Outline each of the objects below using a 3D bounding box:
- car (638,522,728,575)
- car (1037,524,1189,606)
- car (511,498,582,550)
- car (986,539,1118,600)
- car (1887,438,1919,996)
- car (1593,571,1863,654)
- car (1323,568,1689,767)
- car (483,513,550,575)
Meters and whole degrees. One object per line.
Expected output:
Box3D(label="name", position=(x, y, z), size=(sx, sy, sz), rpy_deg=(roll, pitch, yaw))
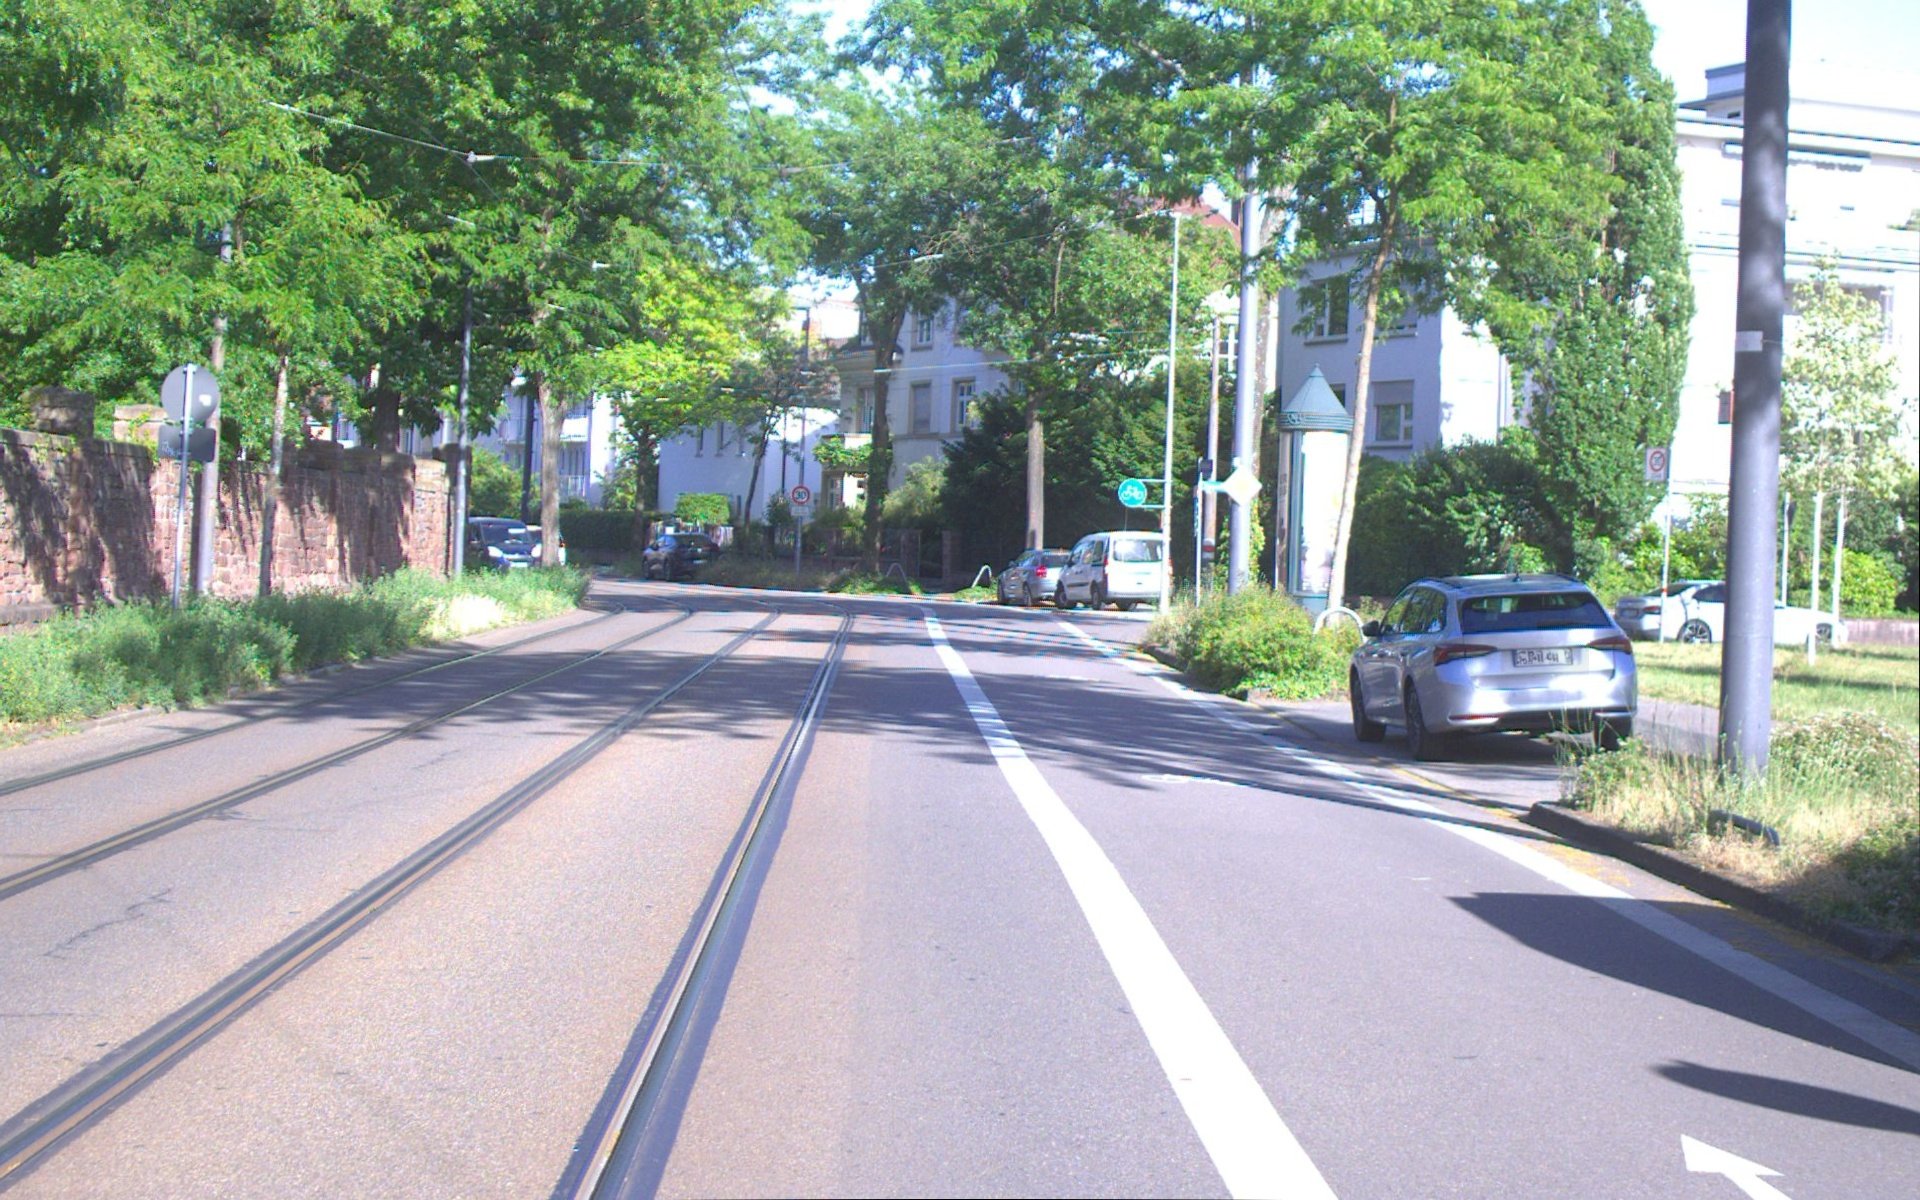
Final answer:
Box3D(label="car", position=(-9.477, -1.766, 117.335), size=(1.804, 1.688, 4.730), rpy_deg=(-2, 2, -20))
Box3D(label="car", position=(3.495, -0.833, 79.593), size=(2.022, 1.741, 4.753), rpy_deg=(2, 1, -16))
Box3D(label="car", position=(-14.193, -2.590, 117.798), size=(1.892, 1.605, 4.230), rpy_deg=(2, -1, -13))
Box3D(label="car", position=(2.254, -0.774, 85.475), size=(1.993, 1.418, 4.334), rpy_deg=(2, 1, -17))
Box3D(label="car", position=(4.714, 0.513, 10.910), size=(1.993, 2.088, 4.717), rpy_deg=(2, 1, -3))
Box3D(label="car", position=(14.356, 0.232, 64.290), size=(4.509, 1.364, 1.969), rpy_deg=(2, 1, -19))
Box3D(label="car", position=(4.502, 0.495, 29.237), size=(2.000, 1.460, 5.434), rpy_deg=(-1, 1, -2))
Box3D(label="car", position=(-13.416, -1.715, 104.051), size=(1.632, 1.786, 4.339), rpy_deg=(2, 1, -3))
